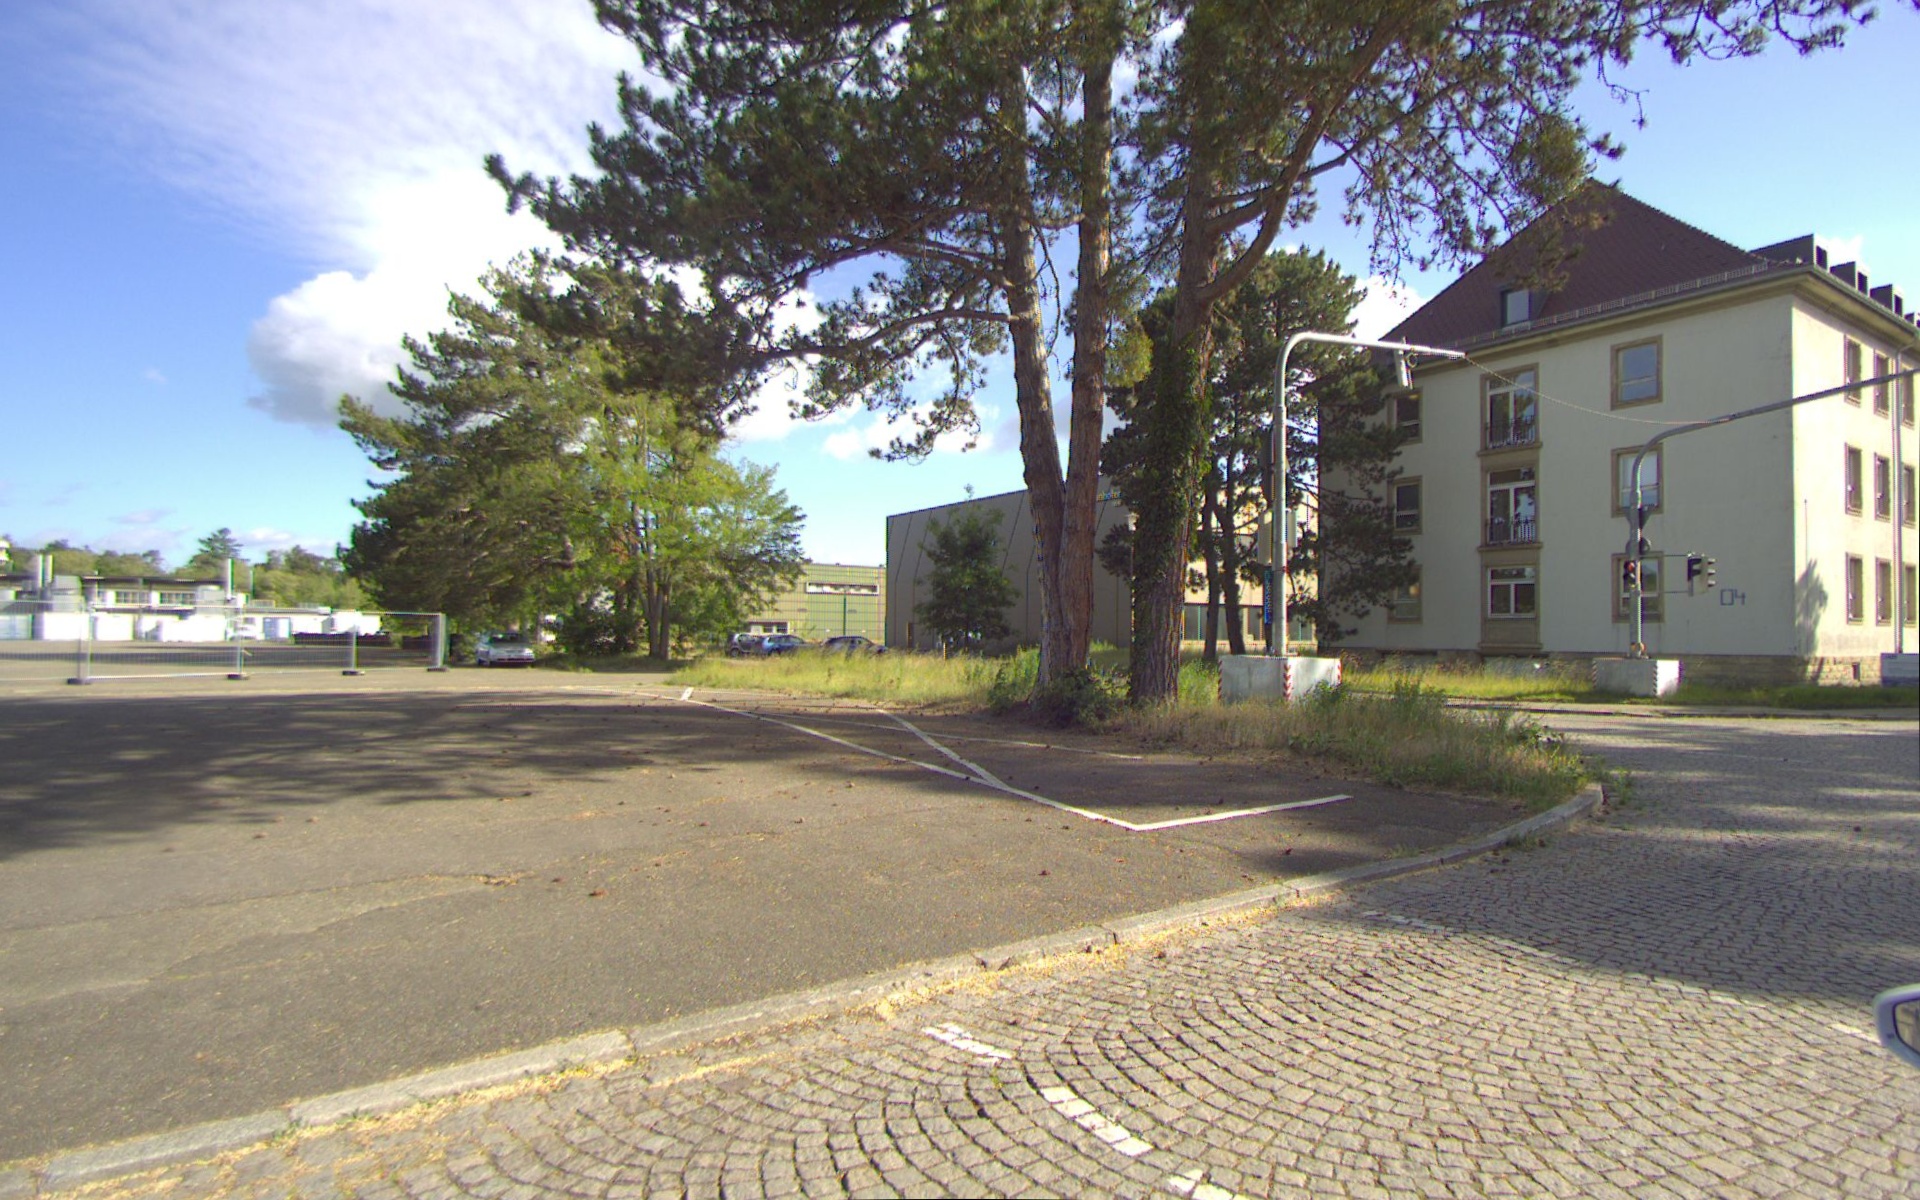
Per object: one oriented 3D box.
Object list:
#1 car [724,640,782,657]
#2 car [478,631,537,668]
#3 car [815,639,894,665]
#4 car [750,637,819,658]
[{"bbox_3d":[-14.129,3.296,68.645,3.636,1.090,1.399,2,-2,-30],"label":"car"},{"bbox_3d":[-18.008,1.931,39.915,1.727,1.388,3.593,2,-2,-31],"label":"car"},{"bbox_3d":[-5.698,2.817,54.530,4.005,1.311,1.479,2,-2,-31],"label":"car"},{"bbox_3d":[-10.860,2.942,62.268,3.953,1.221,1.480,2,-2,-30],"label":"car"}]
